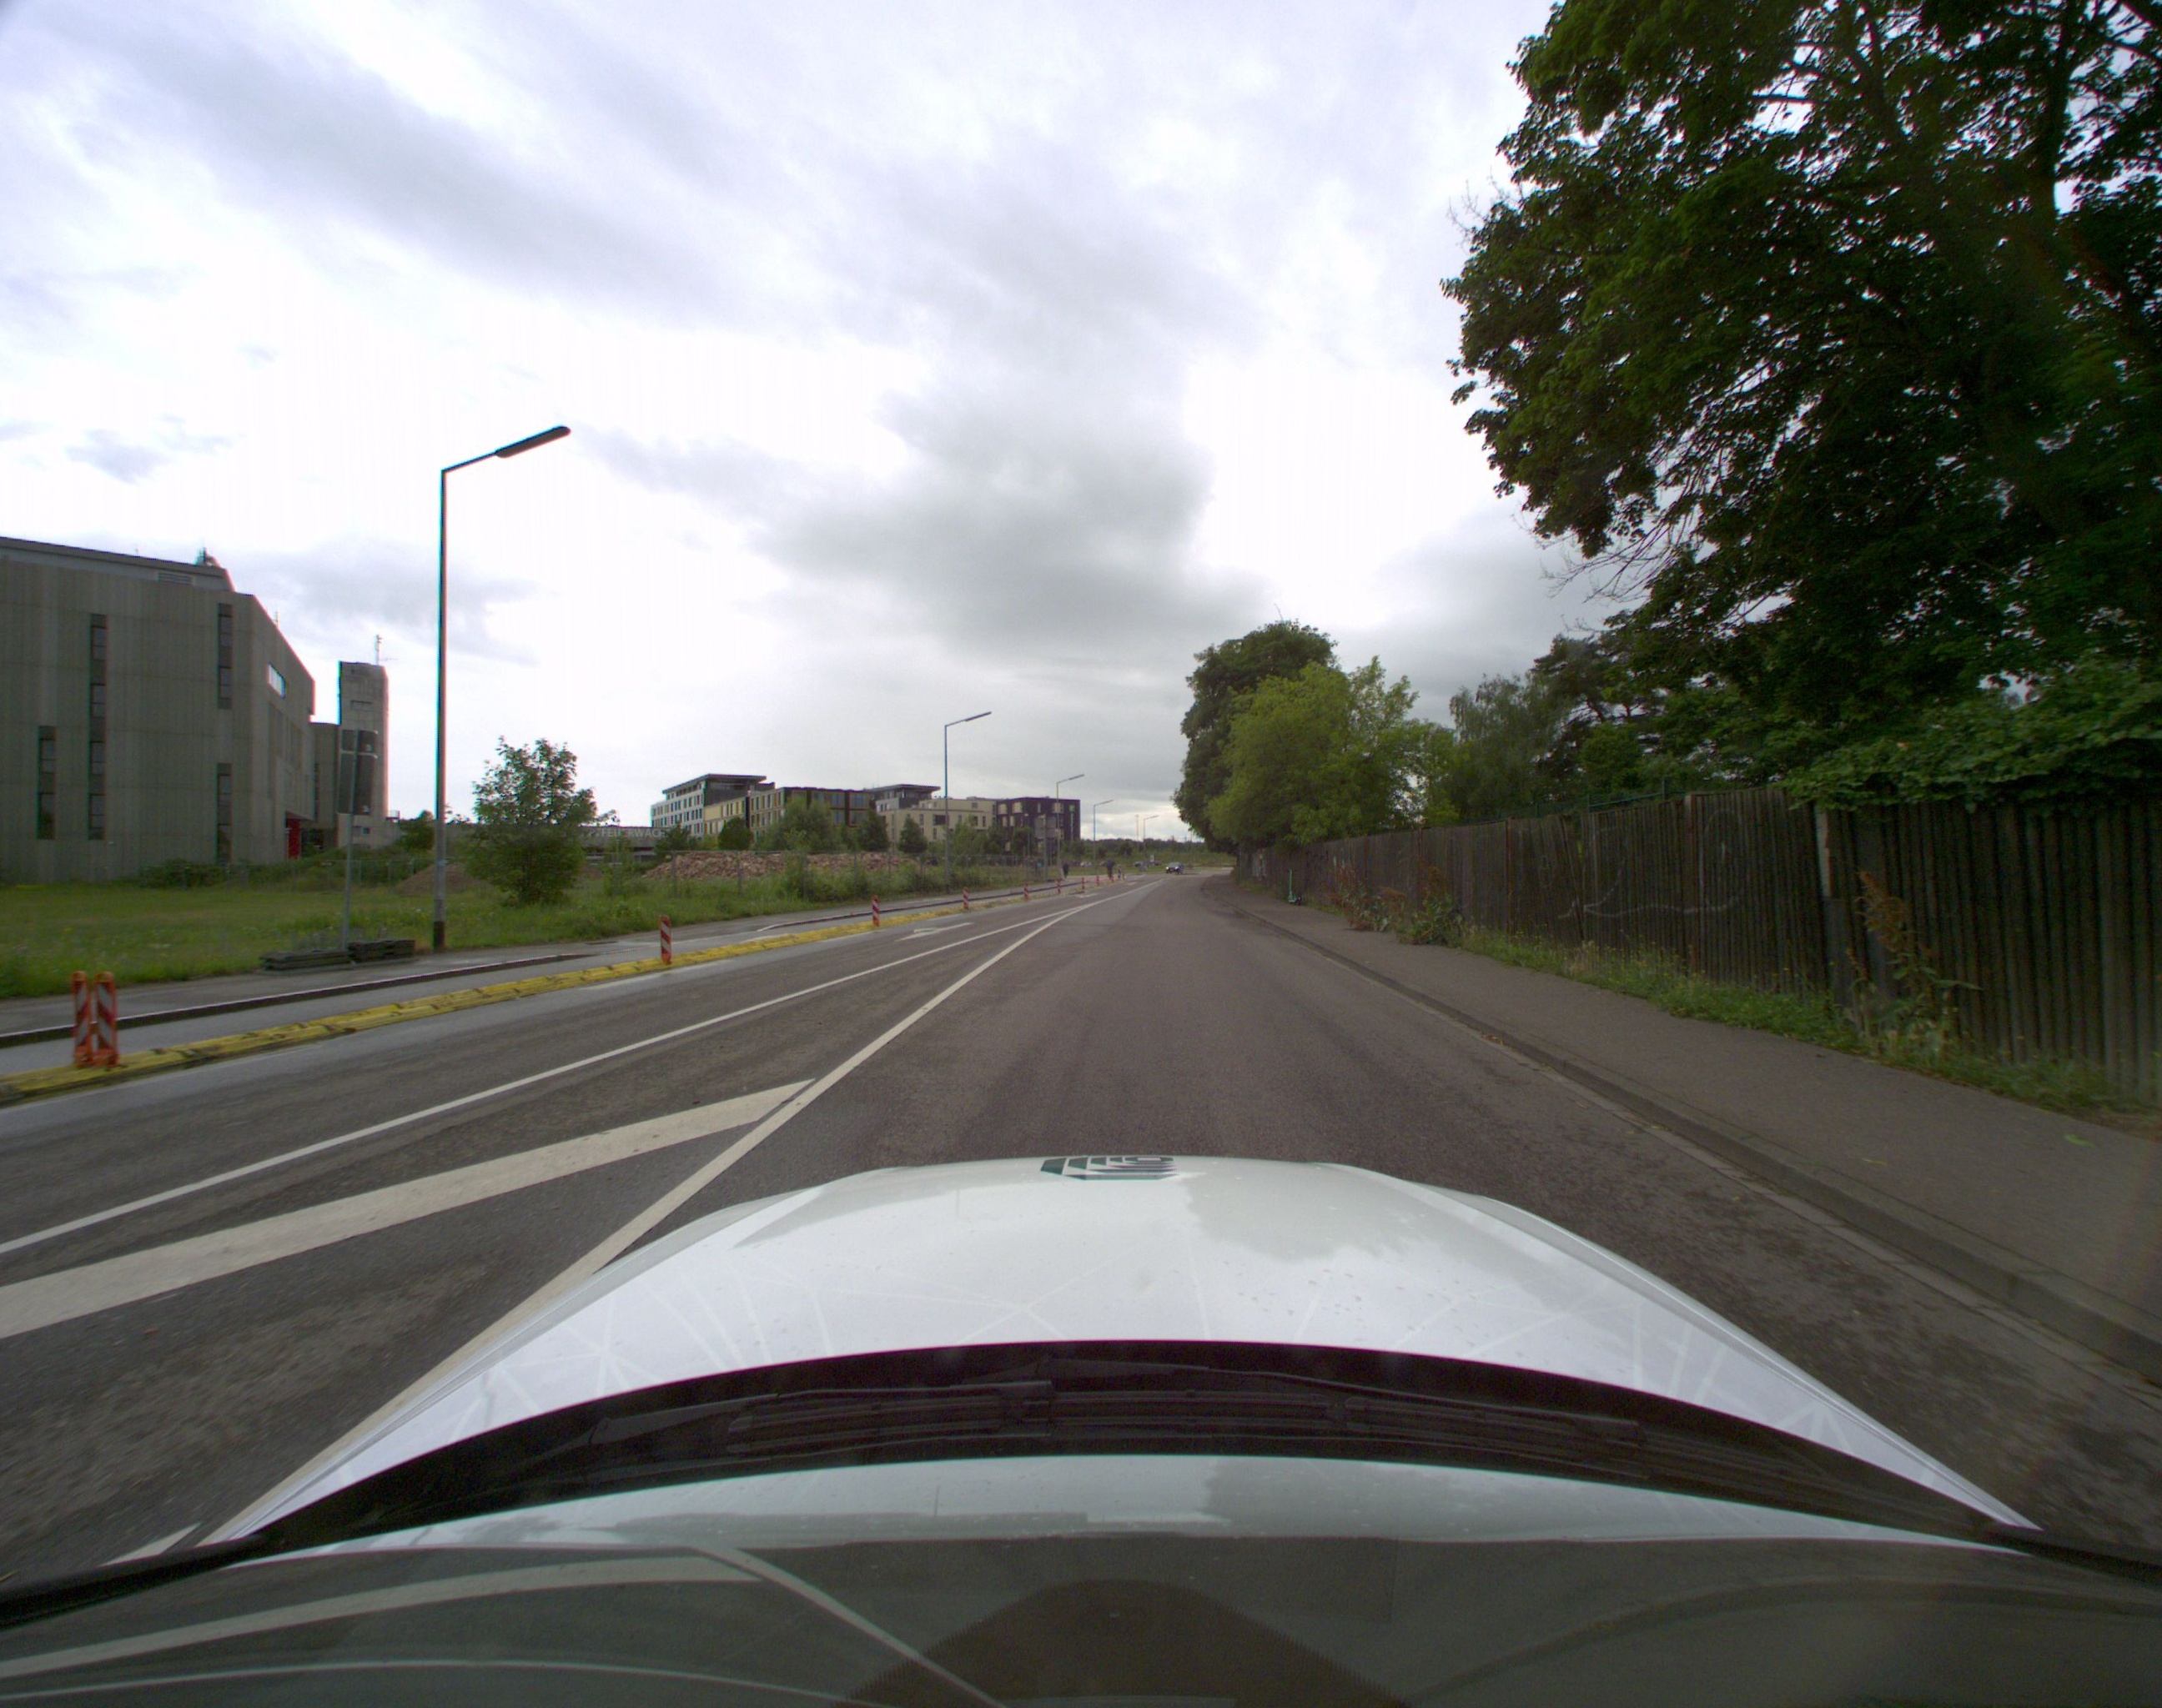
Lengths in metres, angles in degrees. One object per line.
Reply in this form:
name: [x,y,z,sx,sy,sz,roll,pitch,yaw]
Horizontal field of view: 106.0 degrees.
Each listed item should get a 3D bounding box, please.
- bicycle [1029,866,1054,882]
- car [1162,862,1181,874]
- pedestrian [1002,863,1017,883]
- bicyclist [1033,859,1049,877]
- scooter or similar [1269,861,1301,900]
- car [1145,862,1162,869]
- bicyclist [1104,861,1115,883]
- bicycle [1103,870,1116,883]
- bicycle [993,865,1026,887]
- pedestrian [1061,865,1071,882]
bicycle: [-4.265,2.164,87.787,2.502,1.584,1.079,-1,0,-22]
car: [13.024,2.037,116.750,1.866,1.567,4.377,-1,0,16]
pedestrian: [-6.769,1.793,76.995,1.162,1.847,0.739,-1,0,24]
bicyclist: [-4.312,1.520,87.769,1.403,1.899,1.069,-1,0,-22]
scooter or similar: [7.307,0.932,29.289,0.688,1.312,2.355,-1,0,4]
car: [18.182,2.935,204.180,2.010,1.823,3.955,-1,0,-38]
bicyclist: [2.639,1.631,74.628,0.856,2.013,1.180,-1,0,9]
bicycle: [2.658,2.069,74.658,0.878,1.052,2.475,-1,0,9]
bicycle: [-6.762,2.106,76.997,3.099,2.013,0.678,-1,0,24]
pedestrian: [-1.614,2.118,87.336,0.839,1.783,1.079,-1,0,6]
